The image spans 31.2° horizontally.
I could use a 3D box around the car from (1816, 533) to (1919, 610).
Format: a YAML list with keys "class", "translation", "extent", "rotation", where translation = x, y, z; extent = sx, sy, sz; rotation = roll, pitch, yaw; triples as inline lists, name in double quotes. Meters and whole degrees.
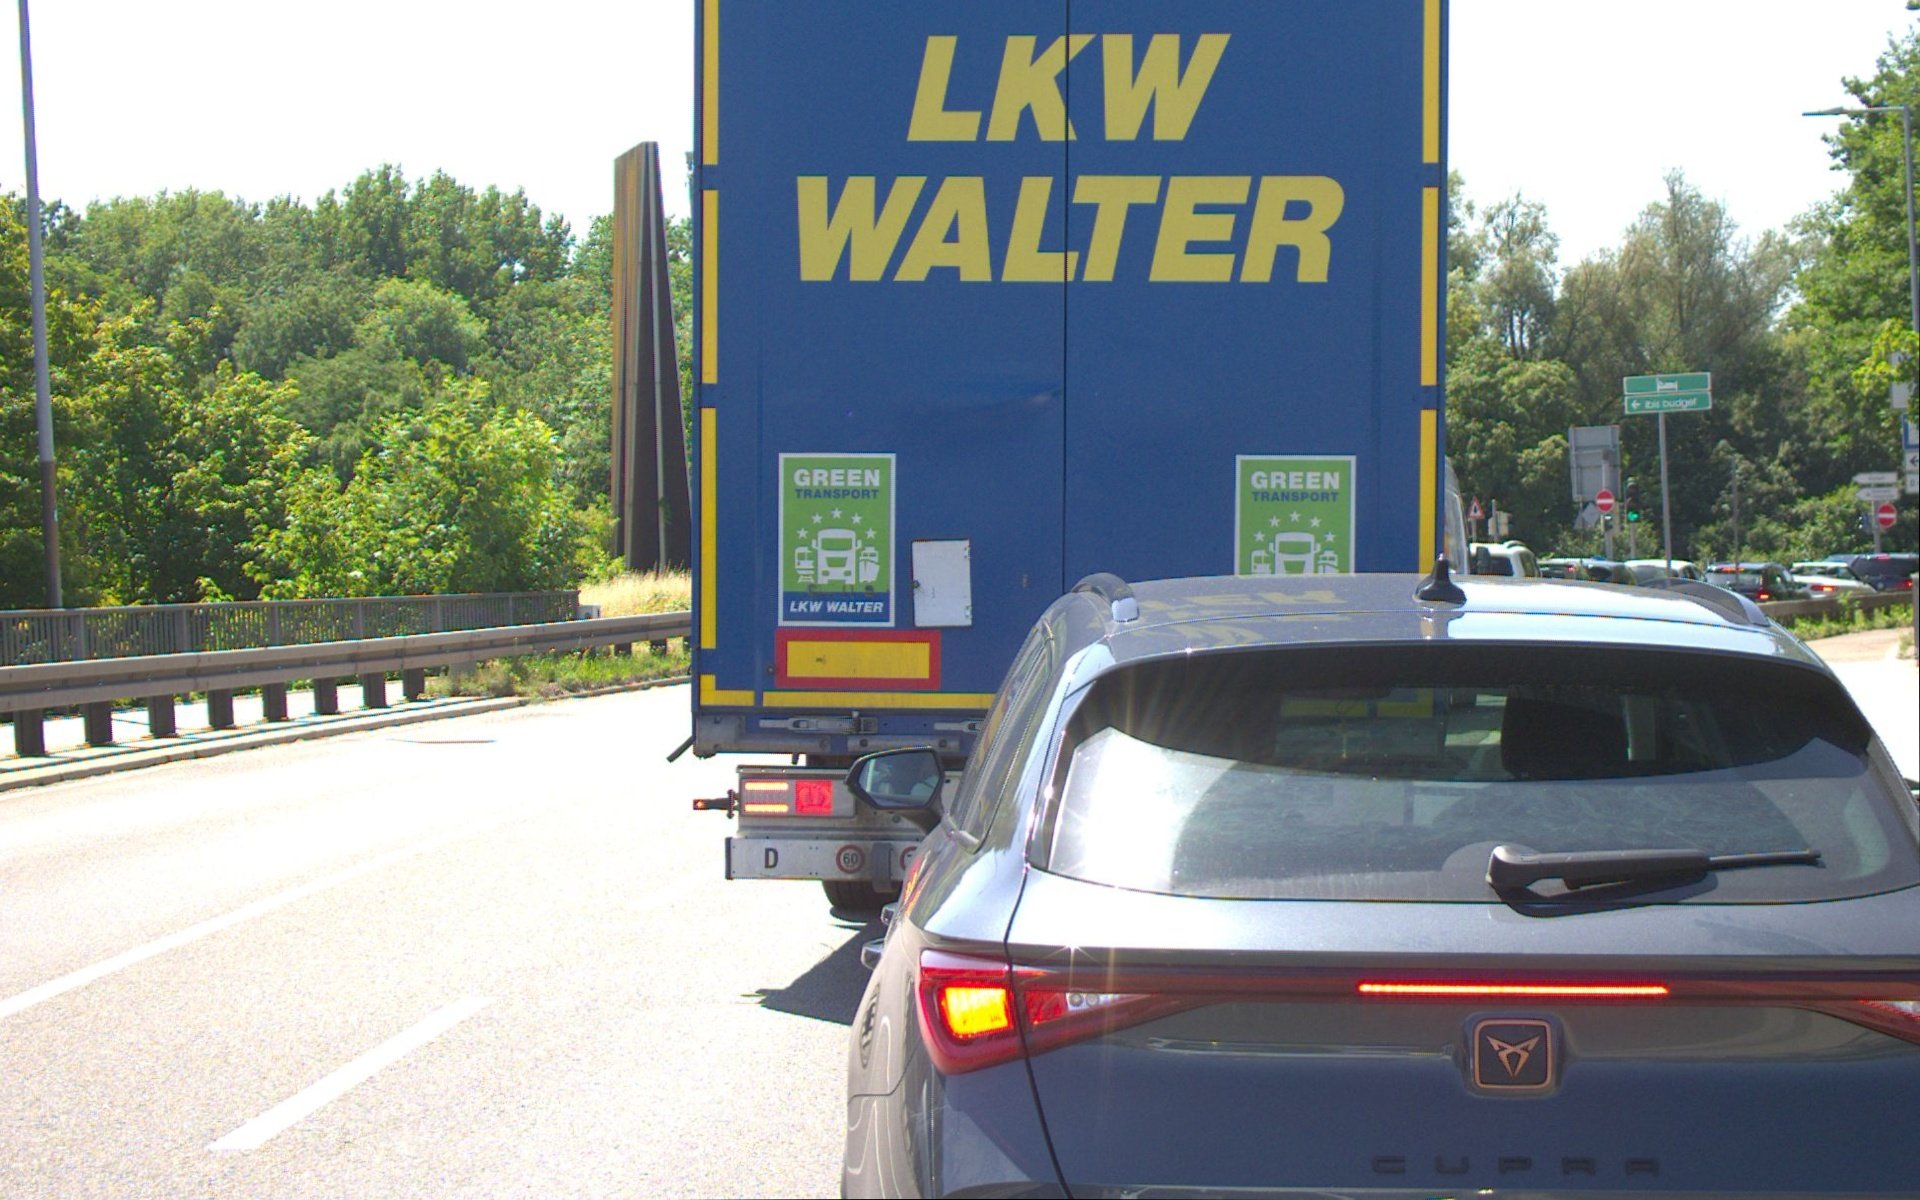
- class: "car"
  translation: [21.359, -0.661, 80.362]
  extent: [1.688, 1.754, 3.994]
  rotation: [0, 0, 28]

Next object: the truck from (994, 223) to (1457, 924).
- class: "truck"
  translation: [2.083, -0.232, 25.047]
  extent: [2.905, 4.403, 6.554]
  rotation: [0, 1, 7]

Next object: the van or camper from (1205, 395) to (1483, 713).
- class: "van or camper"
  translation: [3.869, -0.467, 33.612]
  extent: [2.155, 2.806, 6.384]
  rotation: [0, 1, 11]

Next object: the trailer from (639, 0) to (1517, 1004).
- class: "trailer"
  translation: [1.141, -1.003, 17.556]
  extent: [2.905, 4.403, 12.430]
  rotation: [0, 1, 7]

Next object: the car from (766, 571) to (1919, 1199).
- class: "car"
  translation: [0.676, 0.690, 5.931]
  extent: [1.677, 1.451, 3.958]
  rotation: [0, 1, 2]

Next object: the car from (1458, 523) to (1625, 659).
- class: "car"
  translation: [8.043, -0.161, 47.312]
  extent: [1.722, 1.796, 3.997]
  rotation: [0, 1, 18]

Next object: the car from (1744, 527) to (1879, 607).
- class: "car"
  translation: [18.451, -0.696, 74.408]
  extent: [1.996, 1.570, 3.994]
  rotation: [2, 0, 26]

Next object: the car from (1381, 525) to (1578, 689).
- class: "car"
  translation: [6.240, 0.031, 41.008]
  extent: [1.722, 1.837, 3.997]
  rotation: [0, 2, 18]

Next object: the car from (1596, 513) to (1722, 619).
- class: "car"
  translation: [12.536, -0.626, 61.501]
  extent: [1.722, 1.837, 3.996]
  rotation: [0, 1, 19]

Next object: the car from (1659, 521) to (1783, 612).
- class: "car"
  translation: [15.117, -0.656, 68.153]
  extent: [1.687, 1.754, 3.995]
  rotation: [0, 0, 23]

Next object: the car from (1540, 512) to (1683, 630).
- class: "car"
  translation: [10.539, -0.495, 55.464]
  extent: [1.722, 1.837, 3.996]
  rotation: [0, 1, 19]
